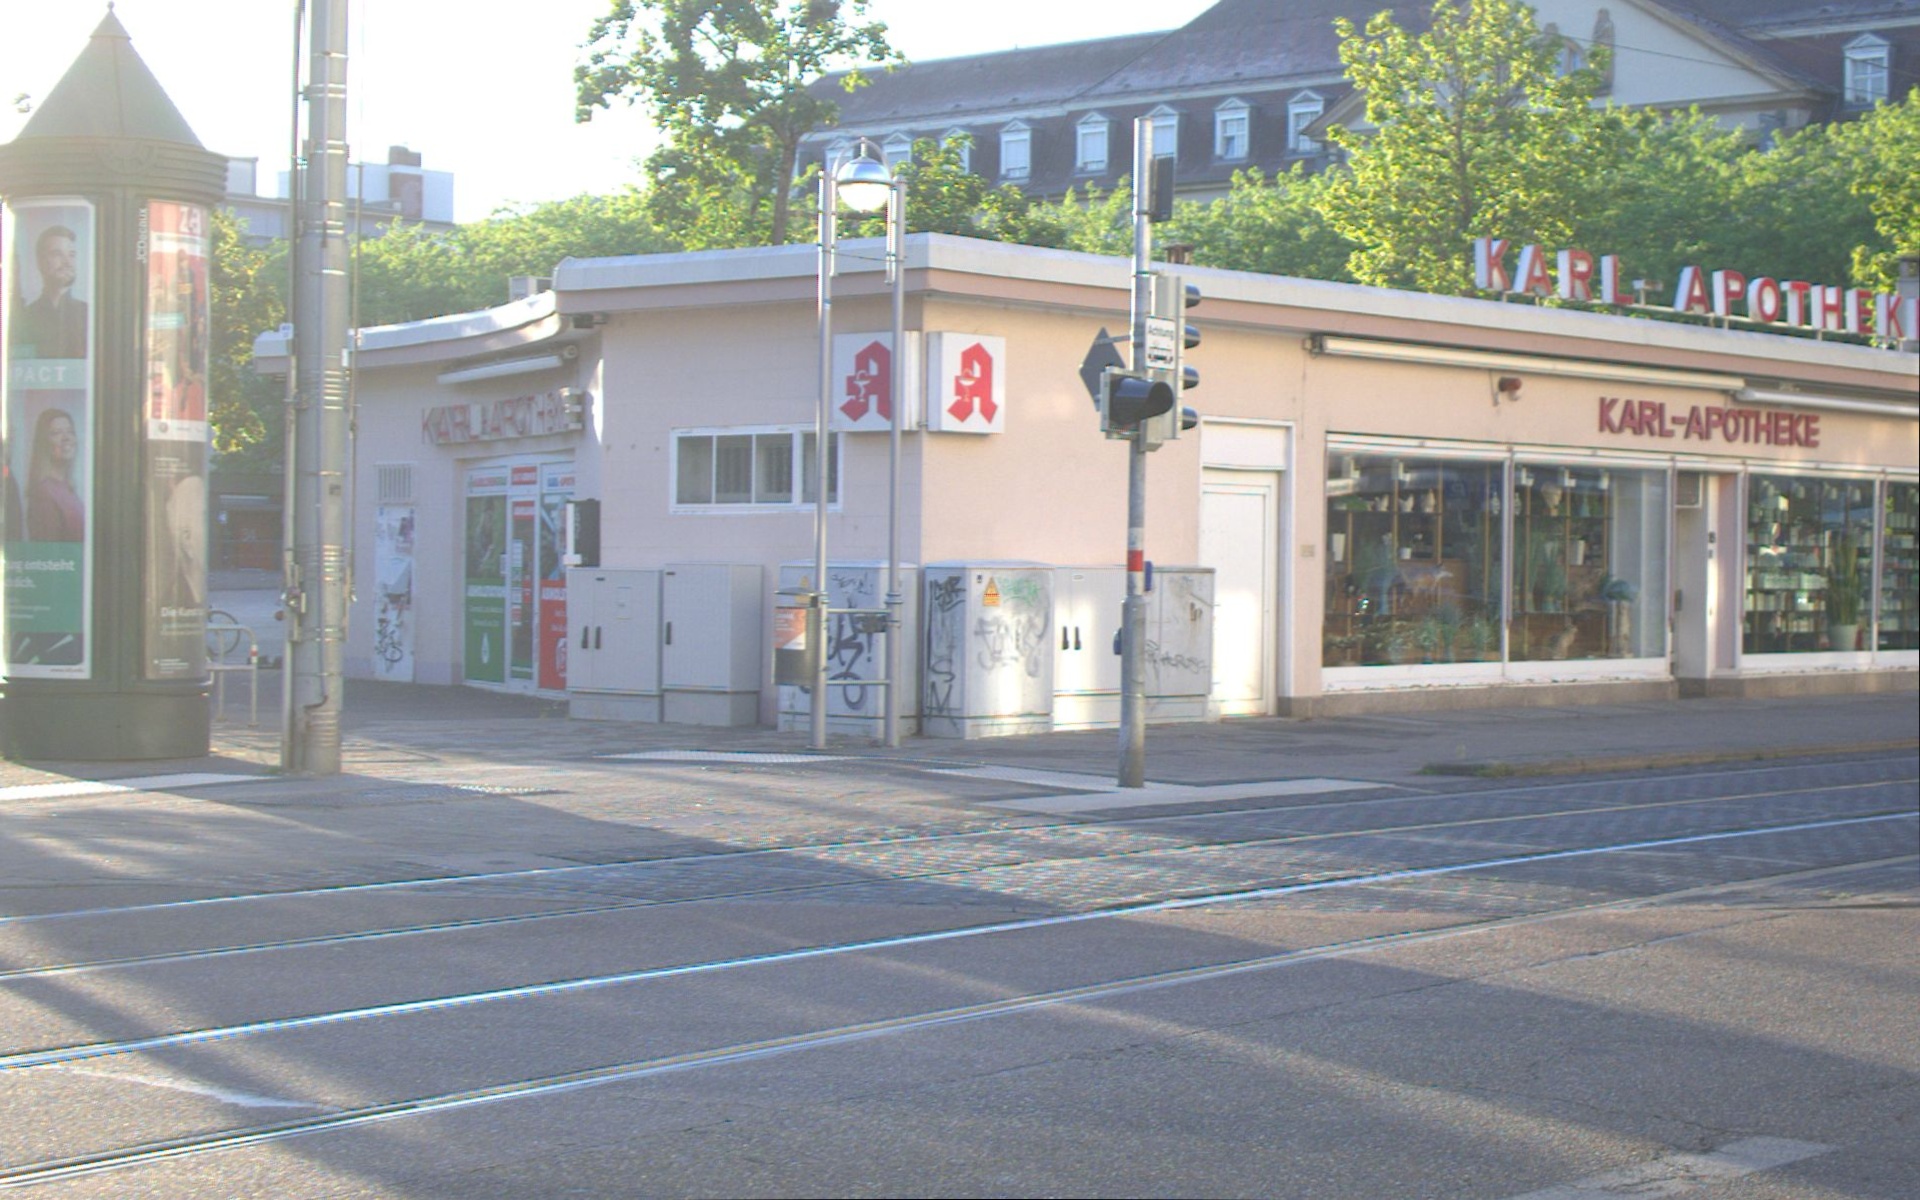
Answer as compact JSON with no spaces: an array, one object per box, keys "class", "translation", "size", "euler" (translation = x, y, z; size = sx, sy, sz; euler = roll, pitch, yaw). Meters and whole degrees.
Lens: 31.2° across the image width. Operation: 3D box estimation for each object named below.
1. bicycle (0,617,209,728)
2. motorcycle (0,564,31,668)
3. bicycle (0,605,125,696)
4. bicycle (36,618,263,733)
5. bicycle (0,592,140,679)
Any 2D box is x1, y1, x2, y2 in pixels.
[{"class":"bicycle","translation":[-8.268,0.686,32.749],"size":[2.146,1.040,0.560],"euler":[0,0,-16]},{"class":"motorcycle","translation":[-11.940,0.179,39.794],"size":[2.234,1.197,0.720],"euler":[0,1,-19]},{"class":"bicycle","translation":[-10.111,0.541,37.153],"size":[2.077,0.979,0.560],"euler":[0,0,-16]},{"class":"bicycle","translation":[-7.535,0.692,31.964],"size":[2.019,1.041,0.560],"euler":[0,0,-16]},{"class":"bicycle","translation":[-10.308,0.395,38.769],"size":[2.037,0.973,0.560],"euler":[0,0,-16]}]
